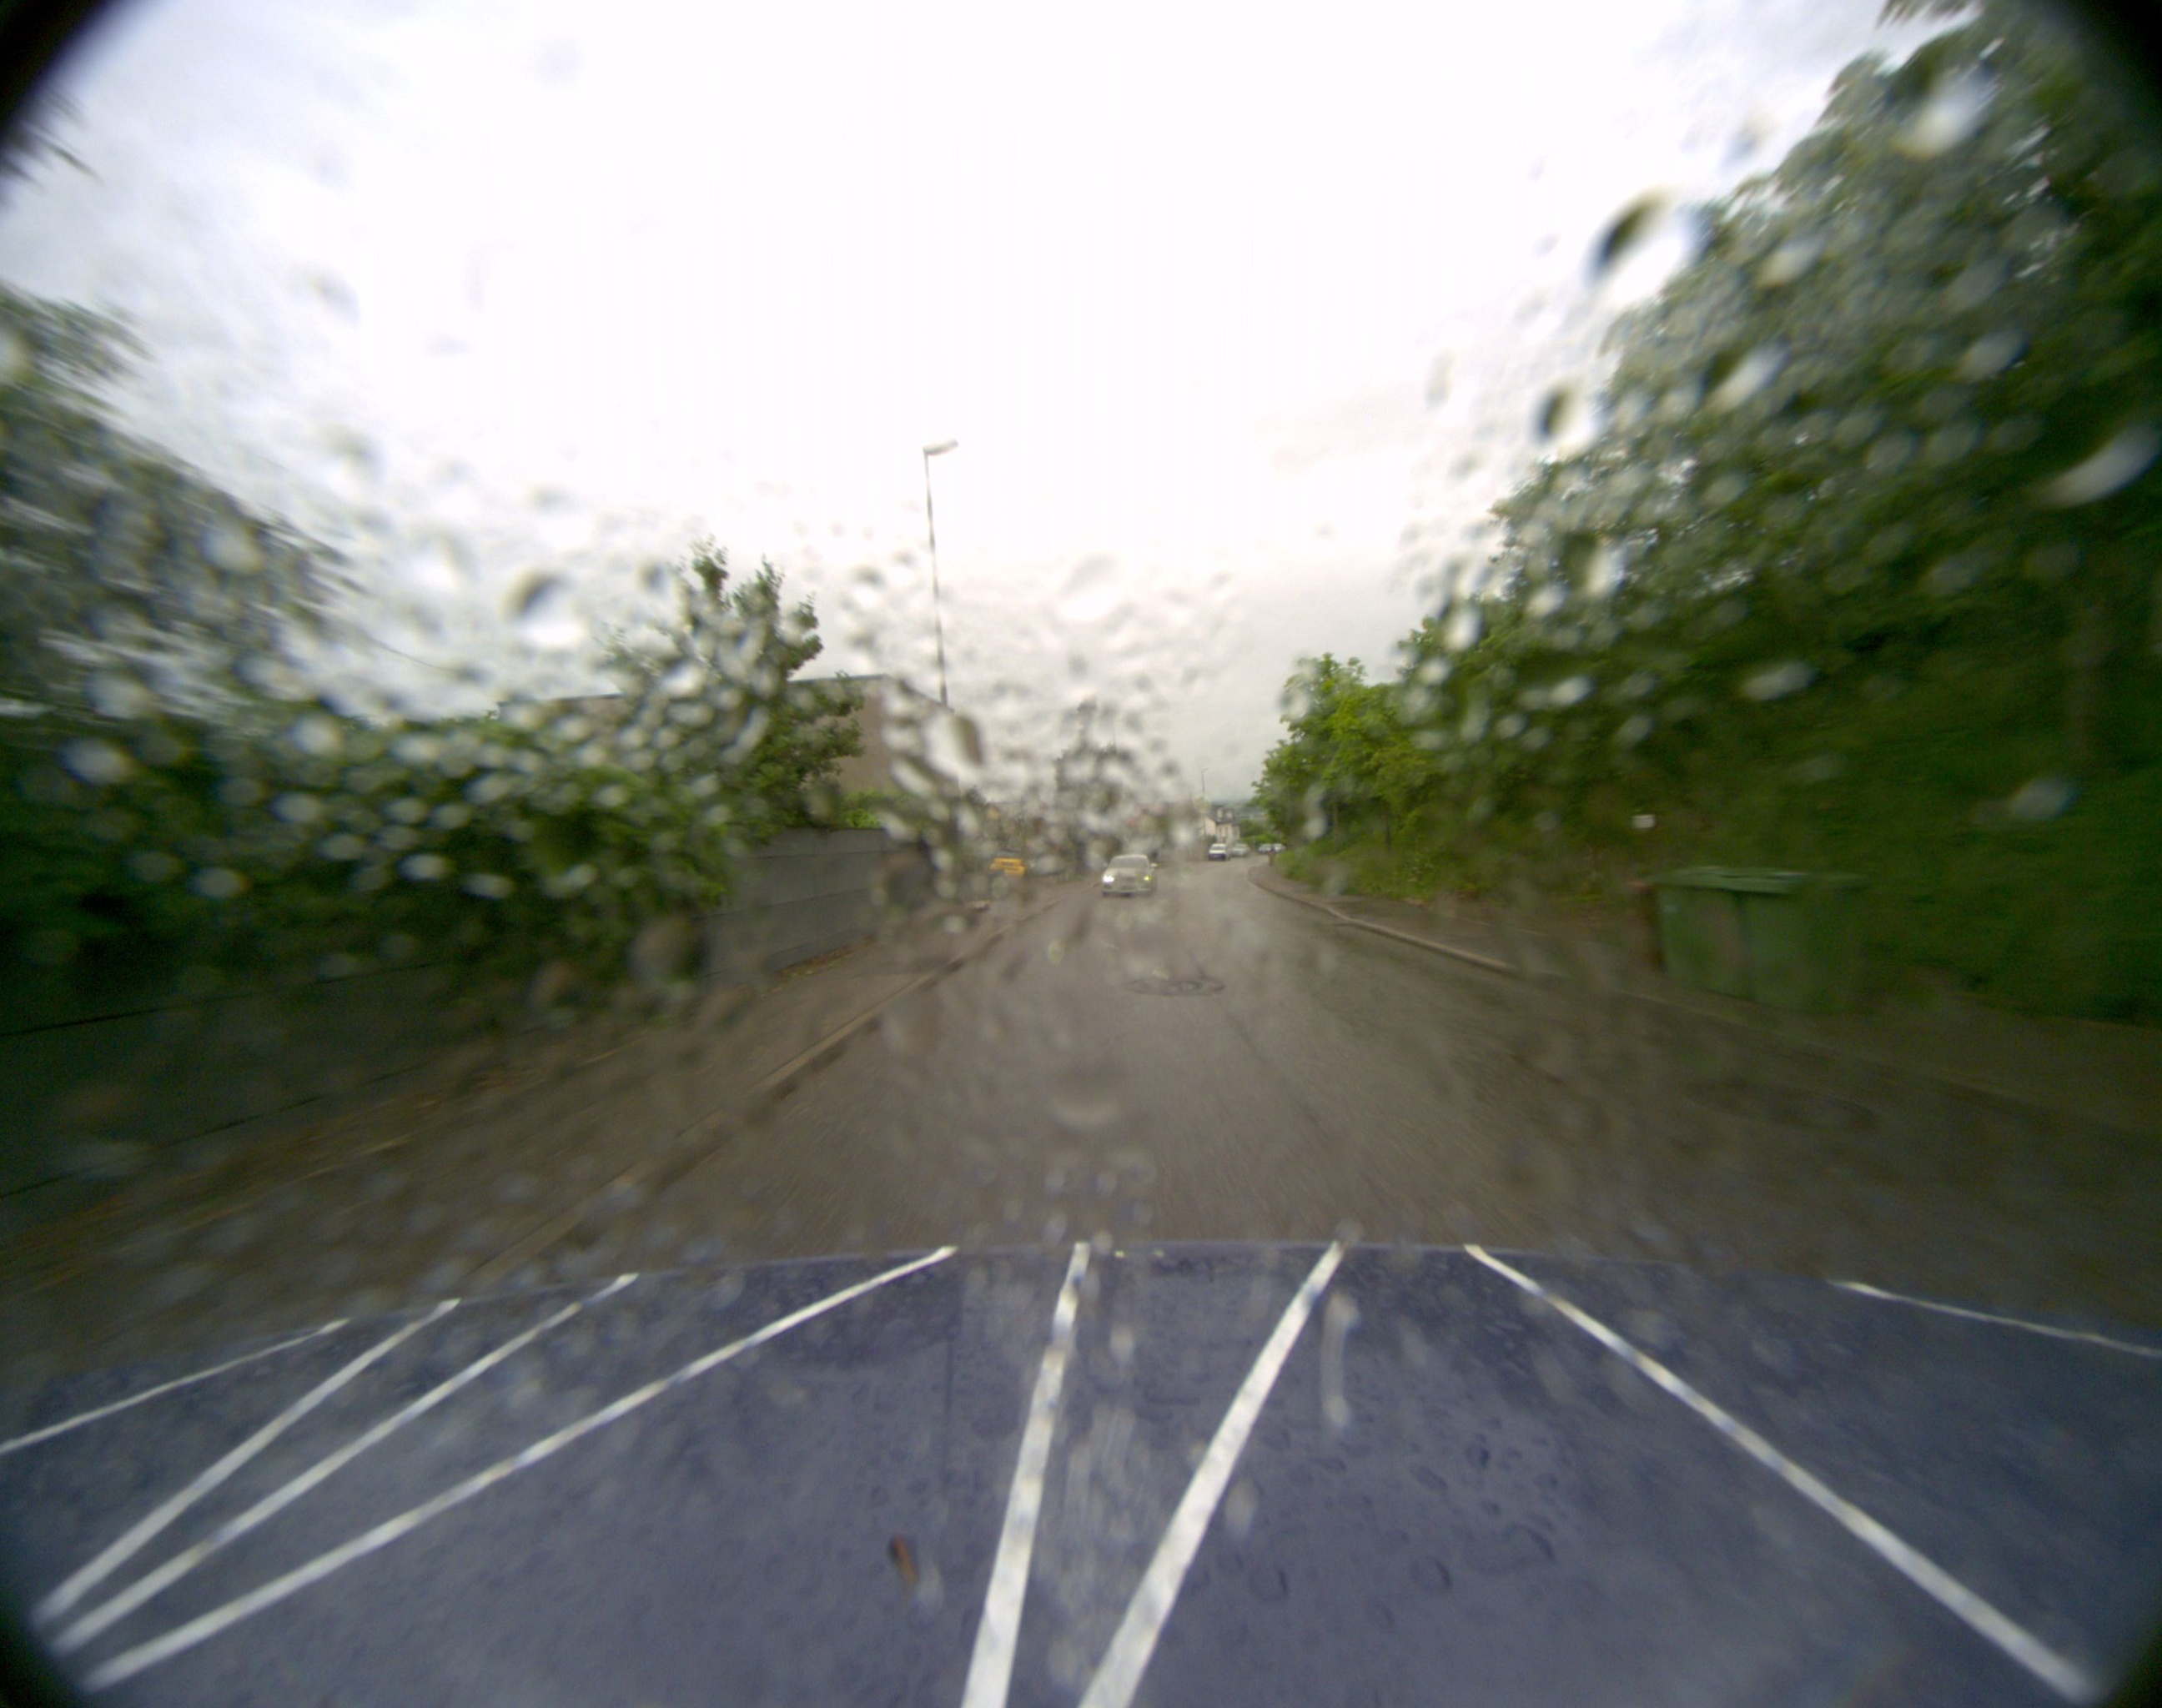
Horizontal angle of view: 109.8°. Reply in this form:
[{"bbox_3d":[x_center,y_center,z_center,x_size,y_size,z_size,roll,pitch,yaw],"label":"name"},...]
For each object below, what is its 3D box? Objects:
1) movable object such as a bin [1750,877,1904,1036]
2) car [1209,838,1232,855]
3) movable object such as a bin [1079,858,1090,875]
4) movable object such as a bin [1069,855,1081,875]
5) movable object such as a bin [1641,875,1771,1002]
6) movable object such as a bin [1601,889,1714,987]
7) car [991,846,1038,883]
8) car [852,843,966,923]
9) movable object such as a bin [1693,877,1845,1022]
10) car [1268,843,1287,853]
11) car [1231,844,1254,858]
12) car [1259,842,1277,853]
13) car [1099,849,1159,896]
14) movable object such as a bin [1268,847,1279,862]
[{"bbox_3d":[5.572,0.749,5.703,0.649,1.109,0.505,-2,1,3],"label":"movable object such as a bin"},{"bbox_3d":[15.407,-0.804,83.959,1.780,1.793,4.713,0,2,19],"label":"car"},{"bbox_3d":[0.209,0.735,45.138,0.505,0.964,0.595,-4,0,10],"label":"movable object such as a bin"},{"bbox_3d":[-0.354,0.662,45.214,0.505,1.111,0.595,-4,1,10],"label":"movable object such as a bin"},{"bbox_3d":[5.733,0.754,7.003,0.649,1.074,0.673,-2,1,3],"label":"movable object such as a bin"},{"bbox_3d":[5.874,0.839,7.778,0.649,0.906,0.673,-2,1,3],"label":"movable object such as a bin"},{"bbox_3d":[-3.070,0.458,35.623,1.631,1.485,3.426,4,2,3],"label":"car"},{"bbox_3d":[-5.081,0.776,23.272,1.998,1.930,4.772,-1,4,5],"label":"car"},{"bbox_3d":[5.665,0.761,6.296,0.649,1.098,0.673,-2,1,3],"label":"movable object such as a bin"},{"bbox_3d":[29.638,-0.941,114.462,1.769,1.459,4.242,3,3,29],"label":"car"},{"bbox_3d":[20.450,-0.434,96.334,1.805,1.618,4.294,2,2,26],"label":"car"},{"bbox_3d":[27.047,-0.955,109.806,1.660,1.459,3.769,3,2,27],"label":"car"},{"bbox_3d":[1.823,0.606,27.573,1.797,1.455,4.001,1,2,9],"label":"car"},{"bbox_3d":[14.917,0.022,59.009,0.695,1.083,0.805,-3,-3,21],"label":"movable object such as a bin"}]
